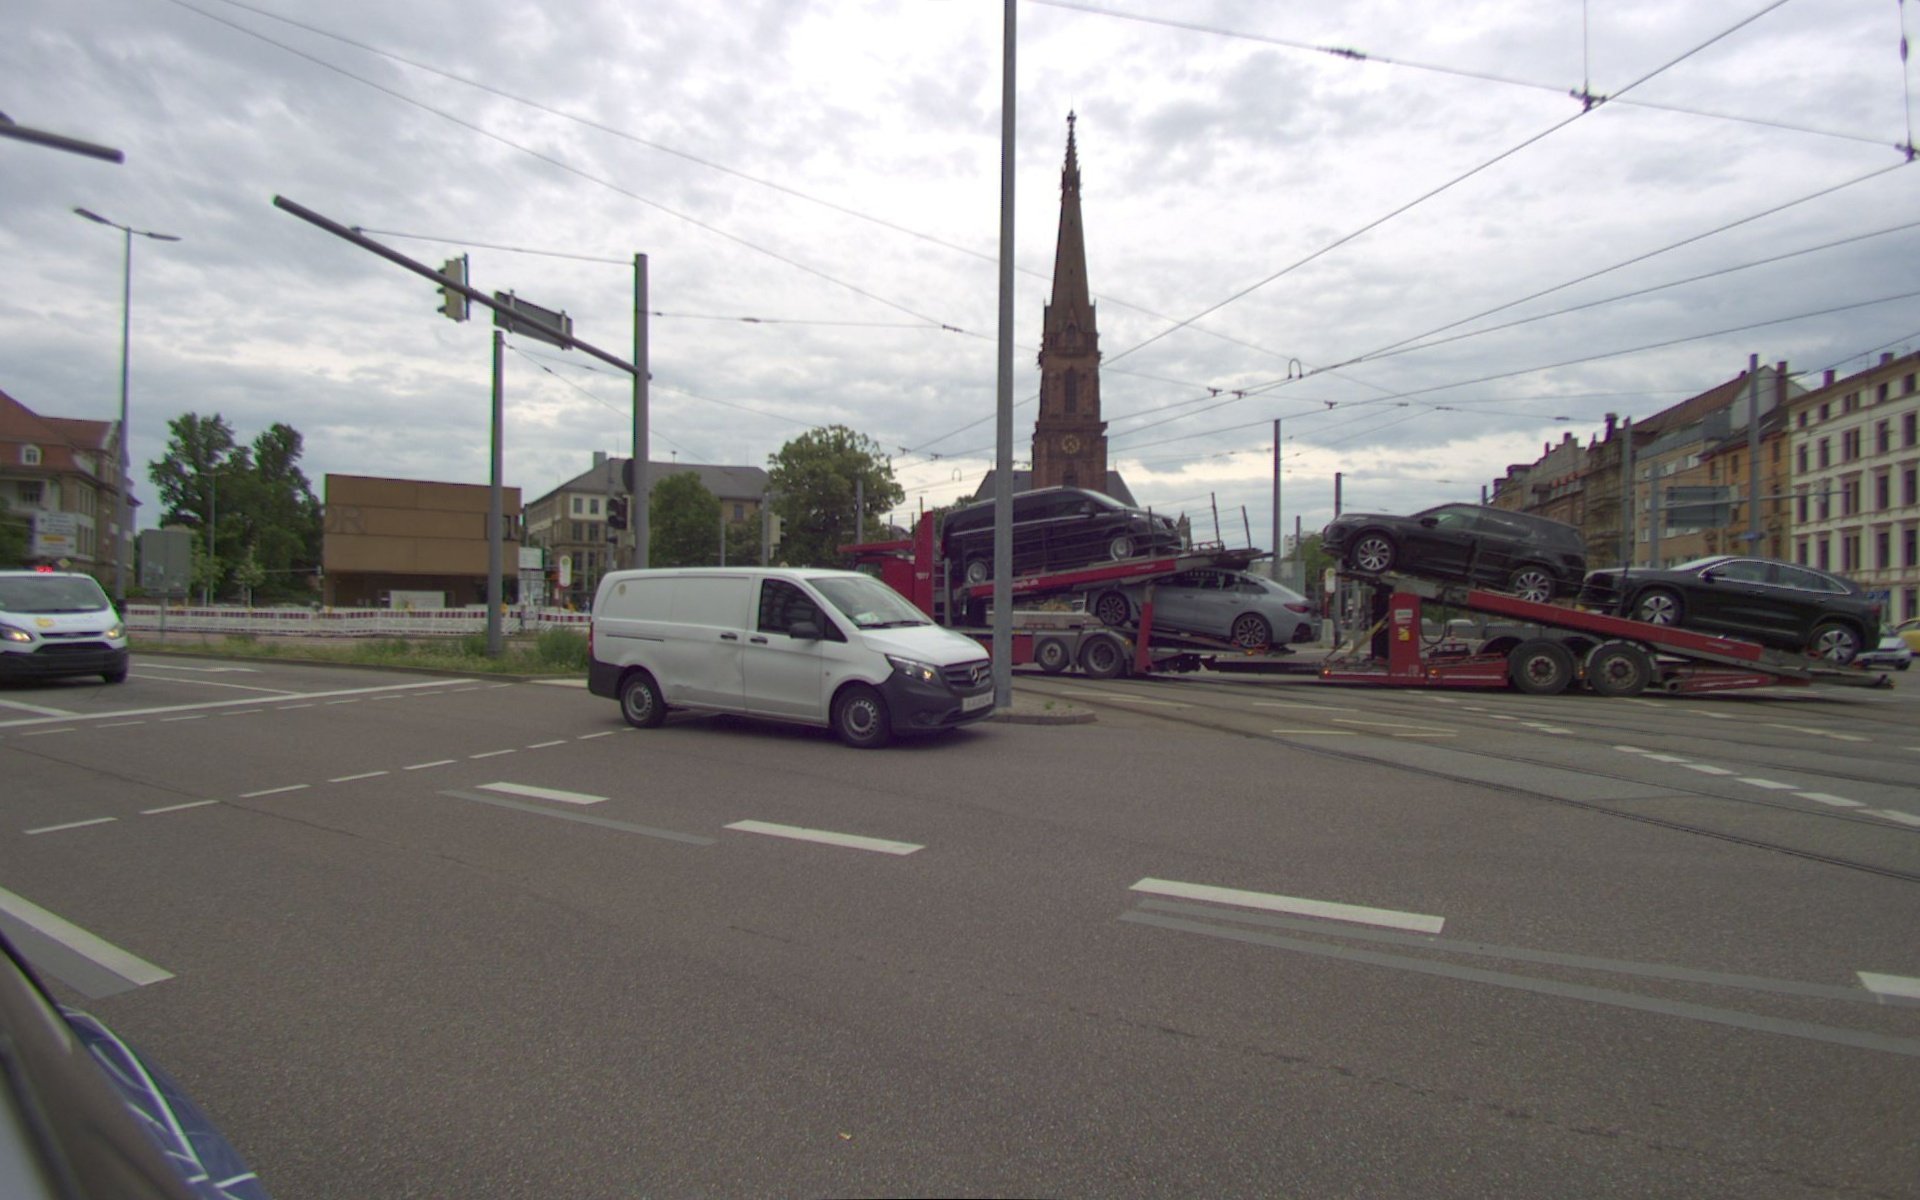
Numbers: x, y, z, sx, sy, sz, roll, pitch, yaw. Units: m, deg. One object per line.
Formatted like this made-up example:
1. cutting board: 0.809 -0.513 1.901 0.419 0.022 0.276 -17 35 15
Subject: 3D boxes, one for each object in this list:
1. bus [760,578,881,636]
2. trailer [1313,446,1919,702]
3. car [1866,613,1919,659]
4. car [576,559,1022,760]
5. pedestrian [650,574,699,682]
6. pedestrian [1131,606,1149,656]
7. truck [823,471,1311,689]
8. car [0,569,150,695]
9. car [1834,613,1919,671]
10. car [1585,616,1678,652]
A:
1. bus: -8.538 0.364 59.963 2.815 3.100 12.058 0 0 -30
2. trailer: 11.543 -0.407 18.413 9.469 4.003 2.981 0 0 17
3. car: 33.579 1.227 34.804 1.804 1.506 3.985 0 0 12
4. car: -1.961 0.539 11.679 5.070 1.896 1.904 0 0 31
5. pedestrian: -5.346 0.516 18.907 0.767 1.958 0.985 1 -1 -21
6. pedestrian: 5.968 1.025 33.490 0.478 1.623 0.422 0 -1 29
7. truck: 2.036 -0.367 22.265 10.413 3.949 2.985 0 0 30
8. car: -16.436 0.525 17.689 4.504 1.956 1.980 0 -1 29
9. car: 26.537 1.133 28.203 1.983 1.504 3.601 0 0 17
10. car: 29.308 1.458 44.329 1.979 1.453 3.986 0 -1 11
